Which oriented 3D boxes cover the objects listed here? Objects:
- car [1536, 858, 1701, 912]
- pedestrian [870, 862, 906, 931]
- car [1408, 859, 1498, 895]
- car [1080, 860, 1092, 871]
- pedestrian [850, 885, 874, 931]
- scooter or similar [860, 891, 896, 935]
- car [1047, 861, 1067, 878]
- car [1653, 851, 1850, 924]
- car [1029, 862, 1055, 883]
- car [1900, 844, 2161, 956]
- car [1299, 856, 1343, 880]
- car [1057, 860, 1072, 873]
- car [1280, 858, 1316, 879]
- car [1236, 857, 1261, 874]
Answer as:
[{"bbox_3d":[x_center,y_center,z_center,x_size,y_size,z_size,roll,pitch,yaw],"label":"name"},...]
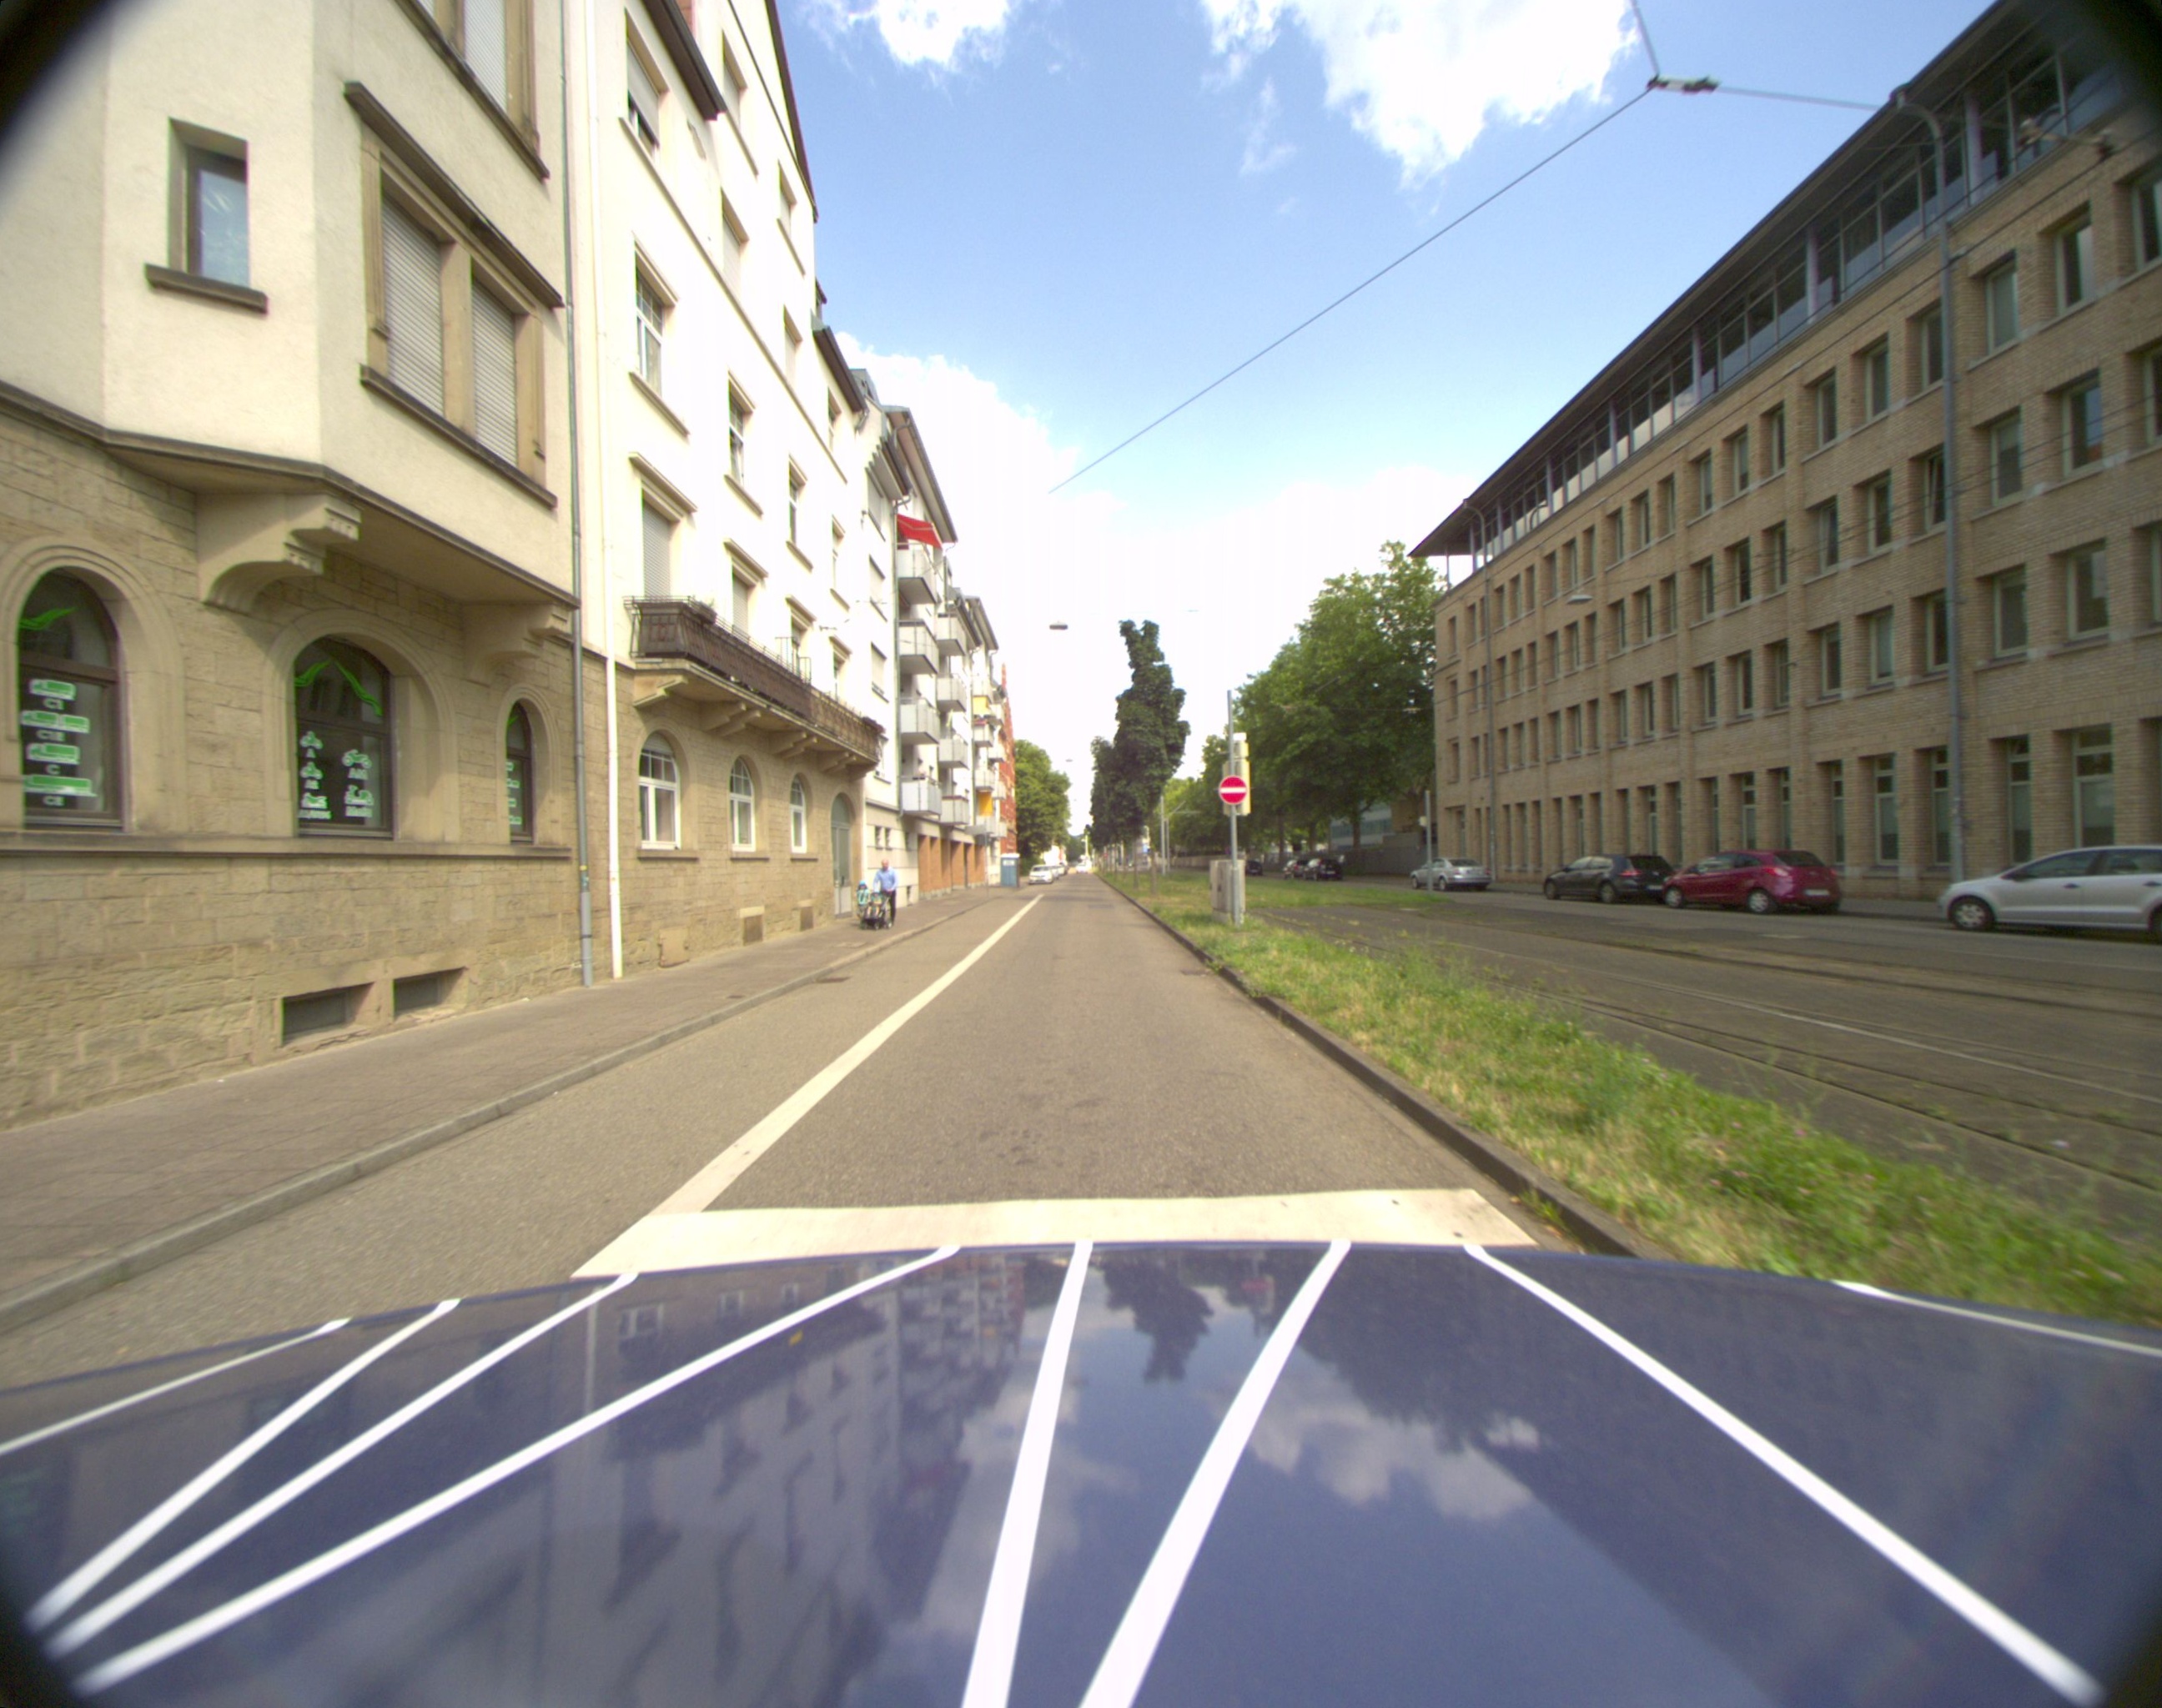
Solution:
[{"bbox_3d":[15.677,0.843,22.489,1.938,1.388,4.239,-1,0,1],"label":"car"},{"bbox_3d":[-5.014,1.076,19.759,0.622,1.728,0.877,2,0,1],"label":"pedestrian"},{"bbox_3d":[15.738,0.938,32.390,1.719,1.388,4.485,-1,0,1],"label":"car"},{"bbox_3d":[0.818,1.781,118.205,1.801,1.521,4.041,-2,0,0],"label":"car"},{"bbox_3d":[-5.571,1.359,19.346,0.457,1.128,0.494,1,0,1],"label":"pedestrian"},{"bbox_3d":[-5.036,1.451,18.888,0.594,0.996,0.906,3,0,1],"label":"scooter or similar"},{"bbox_3d":[-2.363,1.536,75.994,1.801,1.521,4.041,-2,0,0],"label":"car"},{"bbox_3d":[15.743,0.727,18.106,1.586,1.521,3.550,-1,0,1],"label":"car"},{"bbox_3d":[-3.032,1.404,60.166,1.801,1.521,4.041,-2,0,0],"label":"car"},{"bbox_3d":[15.692,0.622,11.609,1.855,1.521,4.210,-1,0,1],"label":"car"},{"bbox_3d":[15.771,0.897,50.071,1.807,1.444,4.001,-1,0,3],"label":"car"},{"bbox_3d":[-2.129,1.534,97.653,1.801,1.521,4.041,-4,0,0],"label":"car"},{"bbox_3d":[15.831,1.021,55.555,1.558,1.417,3.902,-1,0,0],"label":"car"},{"bbox_3d":[15.722,1.072,71.374,1.601,1.455,4.001,-1,0,2],"label":"car"}]
